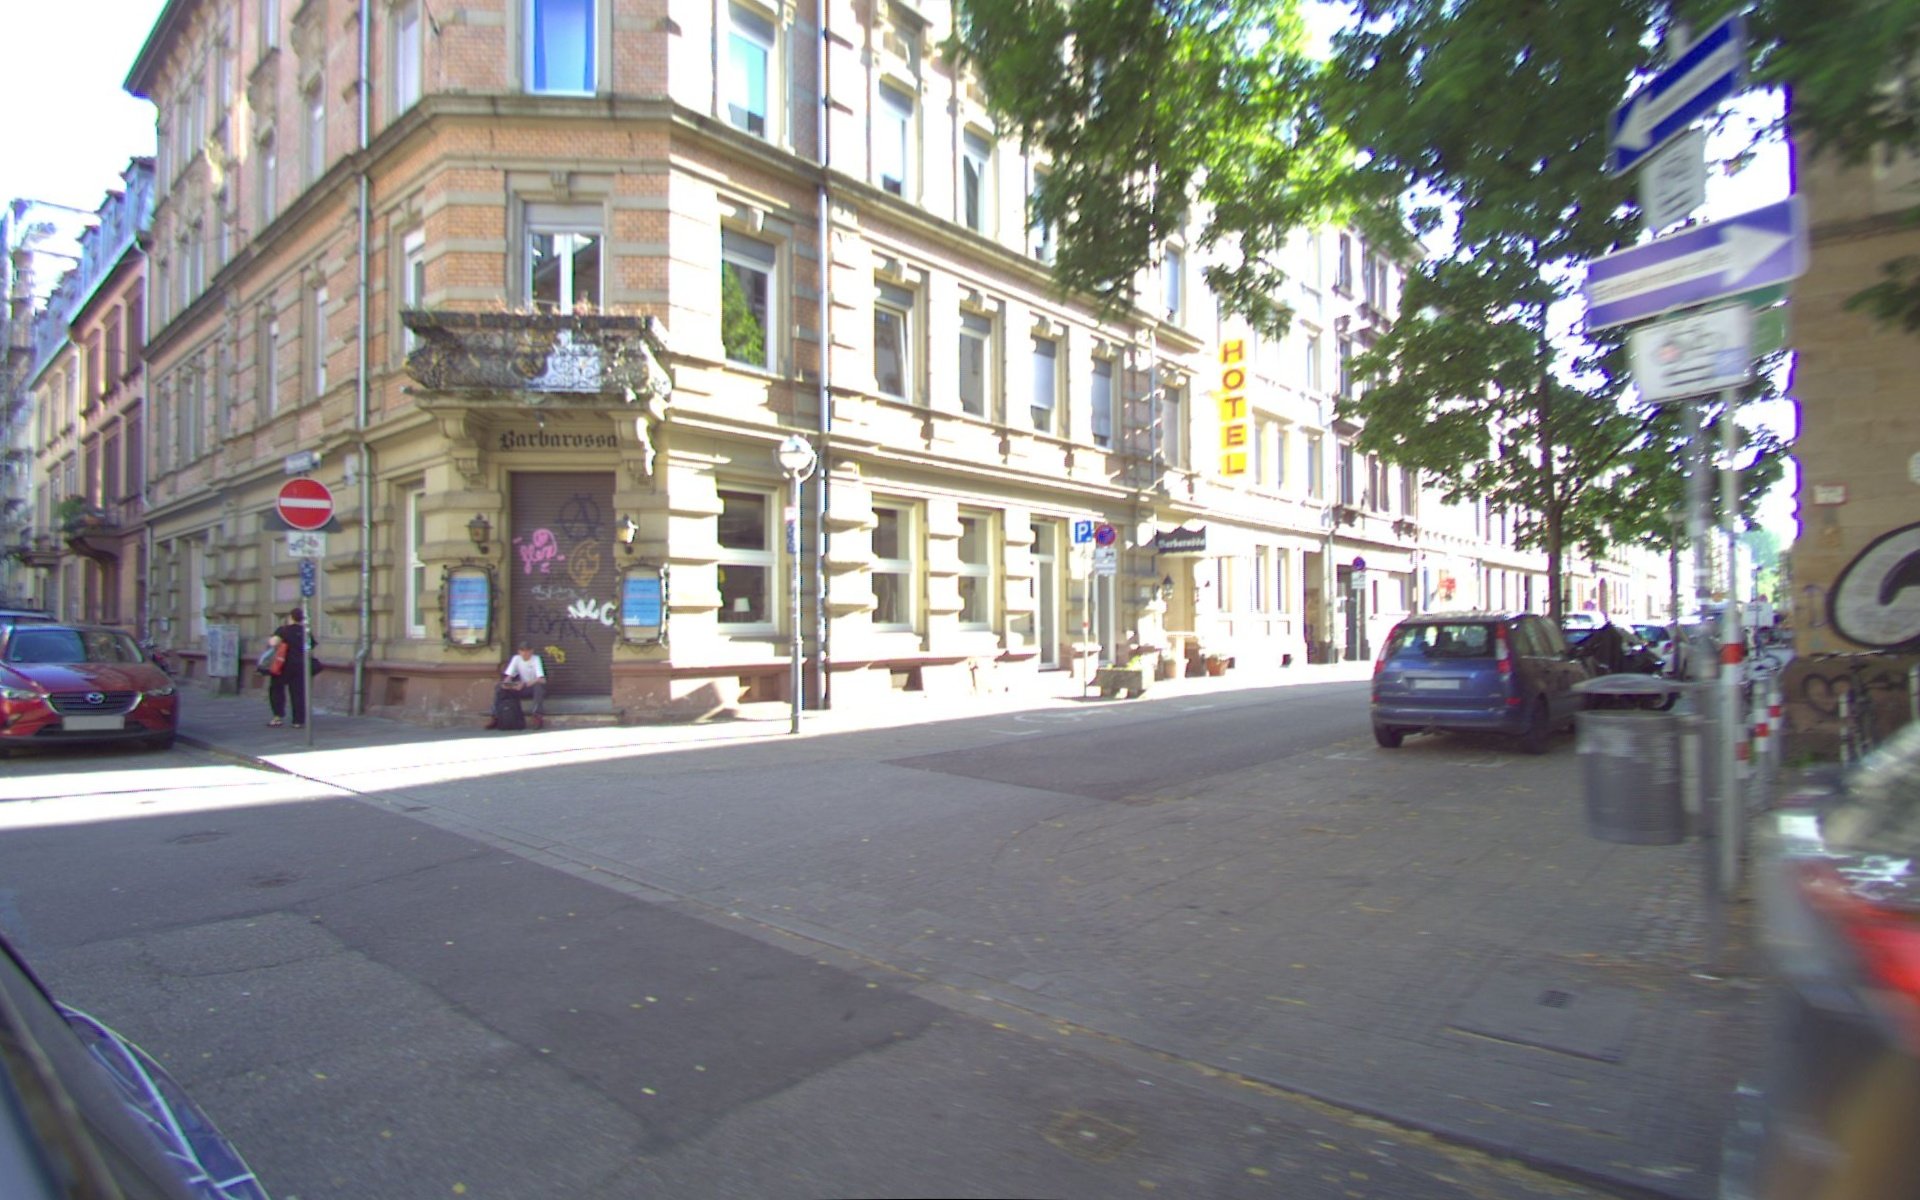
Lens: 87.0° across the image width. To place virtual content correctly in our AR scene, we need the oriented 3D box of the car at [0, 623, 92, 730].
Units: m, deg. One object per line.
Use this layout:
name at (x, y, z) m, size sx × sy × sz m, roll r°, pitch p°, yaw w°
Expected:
car at (-14.638, 1.114, 15.319) m, size 3.871 × 1.431 × 1.657 m, roll -2°, pitch 0°, yaw 40°

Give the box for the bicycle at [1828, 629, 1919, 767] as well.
bicycle at (7.954, 0.801, 8.832) m, size 0.533 × 1.062 × 1.757 m, roll -2°, pitch -2°, yaw 40°

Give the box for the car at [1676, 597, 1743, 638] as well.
car at (27.880, 0.622, 37.611) m, size 1.730 × 1.431 × 3.869 m, roll -2°, pitch -1°, yaw 40°

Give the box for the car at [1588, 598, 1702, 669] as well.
car at (15.882, 0.709, 23.383) m, size 1.730 × 1.472 × 4.221 m, roll -2°, pitch -1°, yaw 40°

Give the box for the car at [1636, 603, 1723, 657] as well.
car at (21.213, 0.840, 29.785) m, size 1.730 × 1.431 × 4.084 m, roll -2°, pitch -1°, yaw 40°

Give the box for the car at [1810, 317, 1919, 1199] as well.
car at (2.959, 0.556, 0.130) m, size 4.285 × 1.659 × 1.723 m, roll -2°, pitch -1°, yaw 39°

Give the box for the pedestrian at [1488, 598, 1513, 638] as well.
pedestrian at (21.962, 0.741, 41.108) m, size 0.711 × 1.578 × 0.714 m, roll -1°, pitch 2°, yaw 41°

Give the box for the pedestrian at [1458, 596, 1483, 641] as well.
pedestrian at (20.728, 0.760, 41.092) m, size 0.711 × 1.771 × 0.714 m, roll -1°, pitch 2°, yaw 41°

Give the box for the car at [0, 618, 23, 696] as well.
car at (-22.176, 1.258, 22.354) m, size 4.607 × 1.636 × 1.769 m, roll -2°, pitch 0°, yaw 43°

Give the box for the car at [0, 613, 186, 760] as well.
car at (-11.147, 0.955, 12.555) m, size 4.088 × 1.492 × 1.704 m, roll -2°, pitch 0°, yaw 42°

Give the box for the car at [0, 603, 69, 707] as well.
car at (-18.454, 1.019, 19.153) m, size 4.607 × 1.798 × 1.872 m, roll -2°, pitch 0°, yaw 42°

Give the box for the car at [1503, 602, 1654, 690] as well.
car at (11.685, 0.785, 19.003) m, size 1.795 × 1.431 × 4.221 m, roll -2°, pitch -1°, yaw 40°

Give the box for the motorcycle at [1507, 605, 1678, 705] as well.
motorcycle at (9.583, 0.809, 15.392) m, size 2.103 × 1.431 × 0.653 m, roll -2°, pitch -1°, yaw 41°

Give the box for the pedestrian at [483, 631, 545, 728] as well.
pedestrian at (-5.799, 1.012, 13.199) m, size 0.657 × 1.186 × 0.750 m, roll -1°, pitch 0°, yaw -19°

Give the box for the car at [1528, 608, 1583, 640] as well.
car at (22.725, 0.907, 38.575) m, size 1.382 × 1.172 × 3.284 m, roll -2°, pitch -1°, yaw 38°

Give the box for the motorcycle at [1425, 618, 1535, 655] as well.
motorcycle at (17.090, 1.190, 33.405) m, size 1.313 × 1.070 × 3.067 m, roll 1°, pitch 0°, yaw -25°

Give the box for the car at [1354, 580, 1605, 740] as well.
car at (6.427, 0.642, 12.305) m, size 1.769 × 1.610 × 3.946 m, roll -4°, pitch -2°, yaw 41°

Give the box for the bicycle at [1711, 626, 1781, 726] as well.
bicycle at (9.382, 0.865, 12.057) m, size 0.533 × 1.062 × 2.051 m, roll -2°, pitch -2°, yaw 40°

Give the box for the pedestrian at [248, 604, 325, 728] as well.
pedestrian at (-9.094, 0.865, 13.655) m, size 0.759 × 1.592 × 0.660 m, roll -2°, pitch 0°, yaw 41°

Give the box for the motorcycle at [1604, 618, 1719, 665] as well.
motorcycle at (17.976, 1.037, 25.973) m, size 2.311 × 1.070 × 0.911 m, roll 1°, pitch 0°, yaw 42°

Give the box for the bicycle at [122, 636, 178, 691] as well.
bicycle at (-18.161, 1.398, 22.673) m, size 1.784 × 1.133 × 0.660 m, roll -2°, pitch 1°, yaw 42°

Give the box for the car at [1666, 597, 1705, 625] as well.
car at (58.162, 0.874, 81.077) m, size 2.053 × 2.120 × 4.578 m, roll -2°, pitch 0°, yaw 41°
